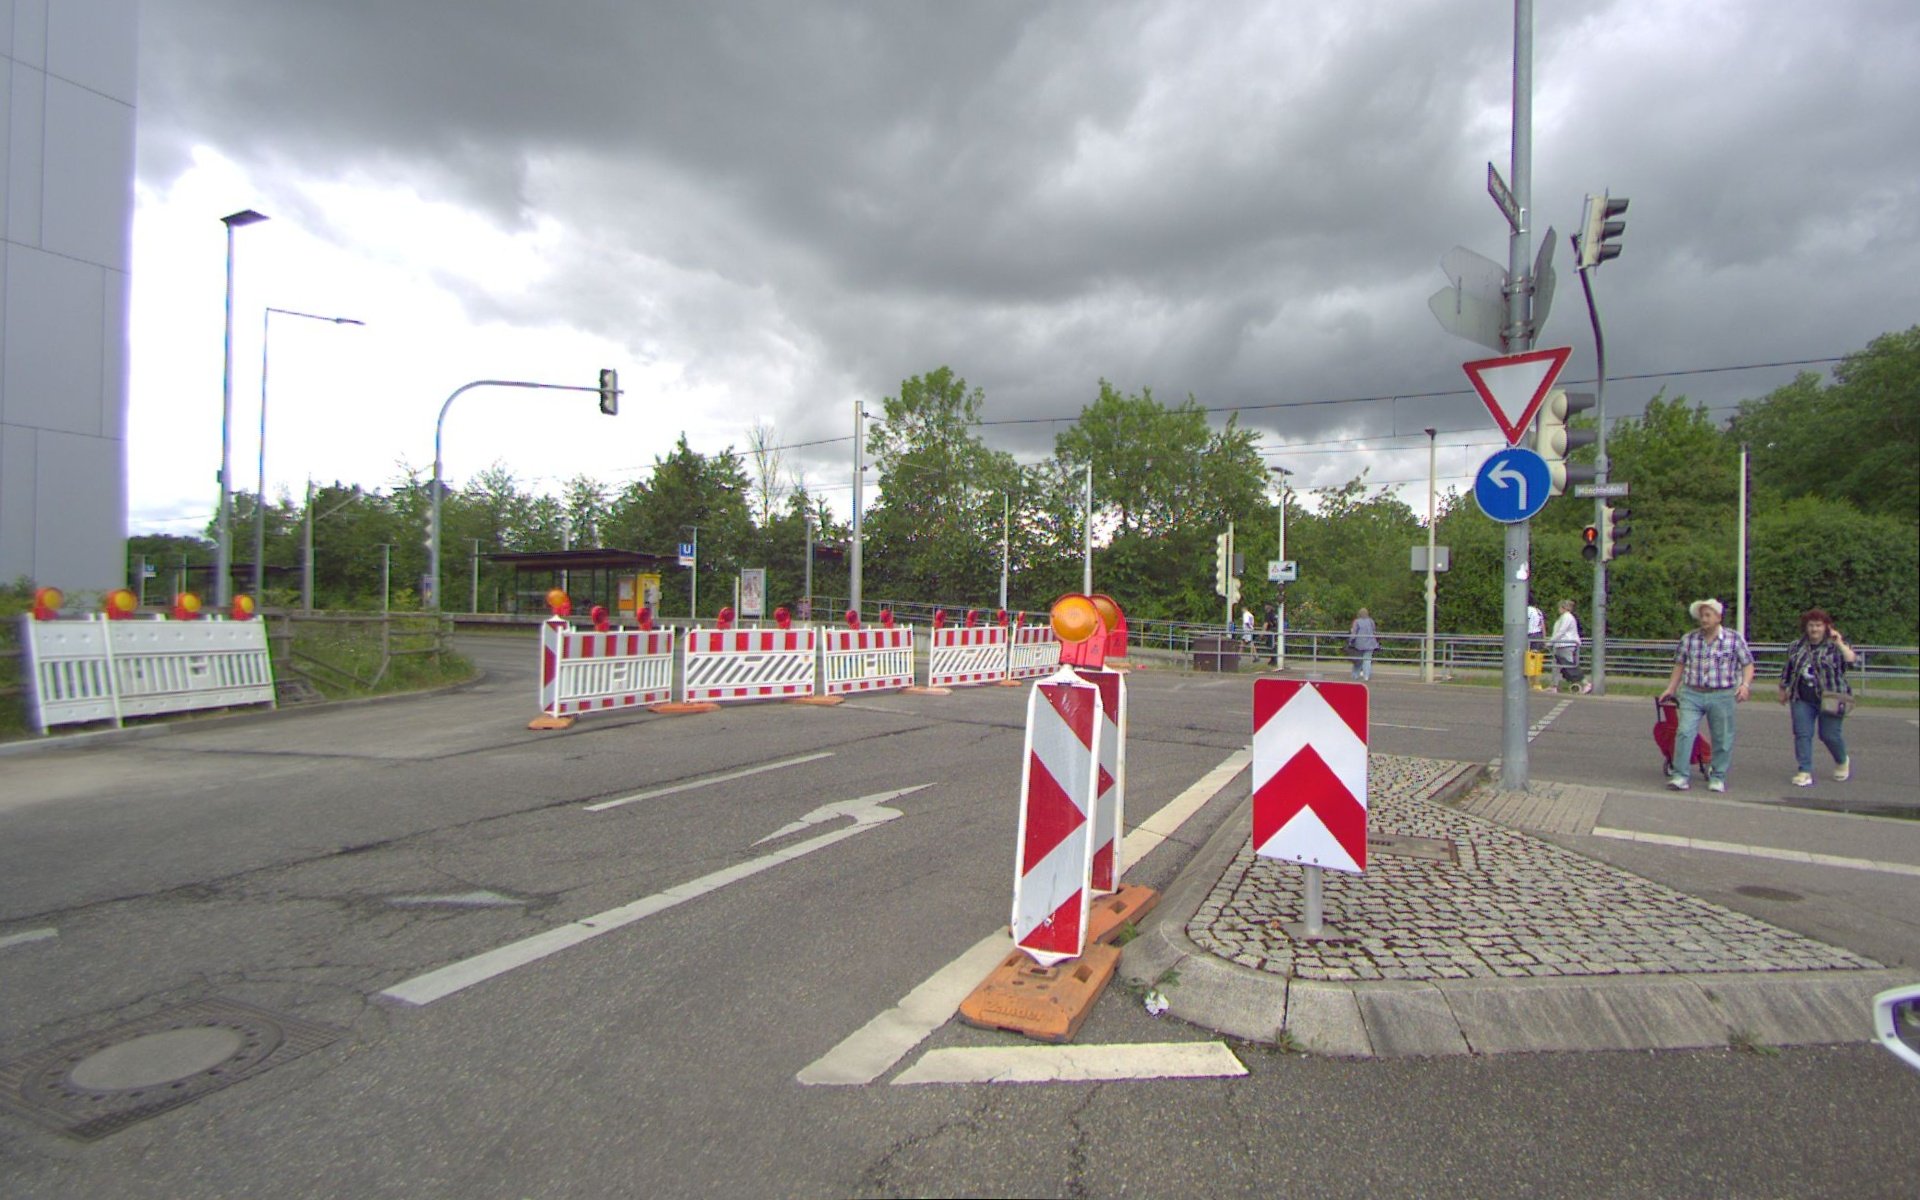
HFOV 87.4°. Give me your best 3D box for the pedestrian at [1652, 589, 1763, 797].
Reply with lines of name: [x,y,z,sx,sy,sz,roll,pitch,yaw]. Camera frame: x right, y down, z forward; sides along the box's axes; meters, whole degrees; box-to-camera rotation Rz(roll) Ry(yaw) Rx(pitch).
pedestrian: [6.273,0.755,8.469,0.687,1.655,0.721,-1,-2,33]

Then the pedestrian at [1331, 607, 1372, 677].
pedestrian: [9.539,1.007,24.472,0.711,1.643,0.802,1,0,37]

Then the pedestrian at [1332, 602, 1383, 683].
pedestrian: [9.000,0.939,22.743,0.940,1.771,0.721,1,0,30]

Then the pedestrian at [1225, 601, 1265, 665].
pedestrian: [8.156,0.933,28.757,0.710,1.771,0.955,1,0,-13]

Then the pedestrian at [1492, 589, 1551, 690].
pedestrian: [10.143,0.696,18.136,0.712,1.771,0.952,1,0,43]

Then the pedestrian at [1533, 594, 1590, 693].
pedestrian: [11.205,0.795,18.710,0.712,1.771,0.952,1,0,43]

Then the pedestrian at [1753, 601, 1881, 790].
pedestrian: [7.634,0.810,8.954,0.725,1.588,0.686,1,0,-34]
